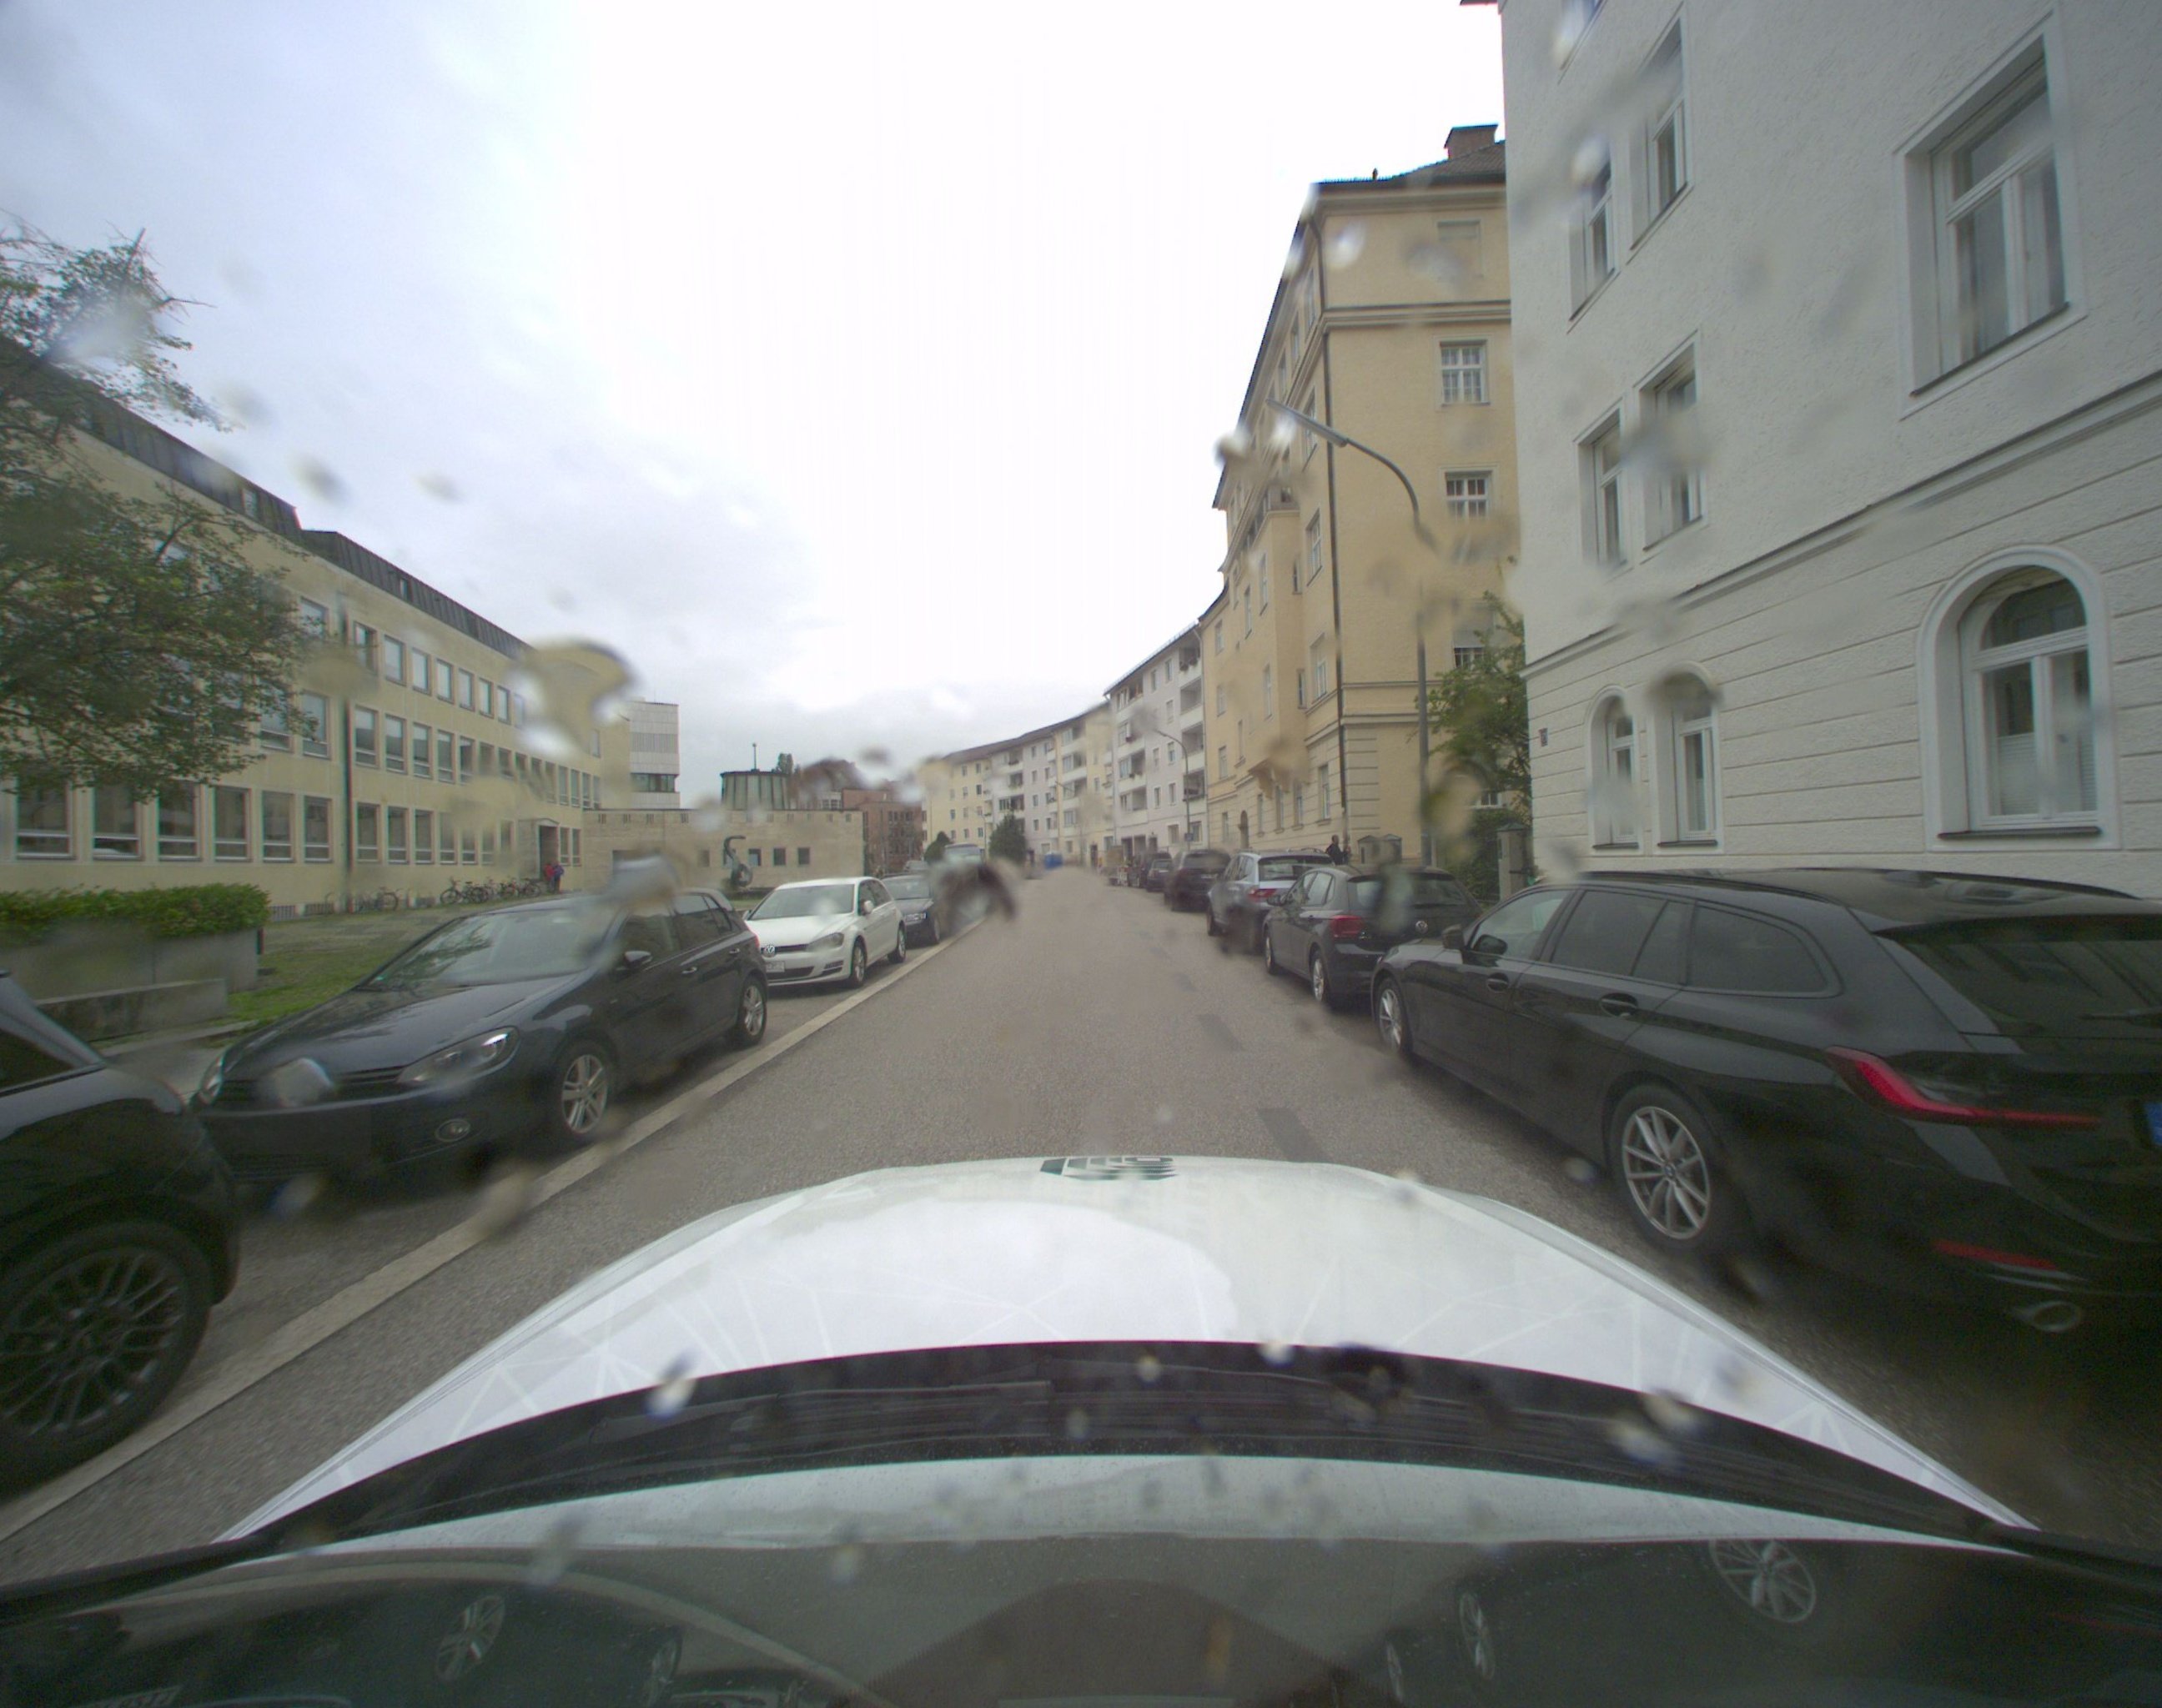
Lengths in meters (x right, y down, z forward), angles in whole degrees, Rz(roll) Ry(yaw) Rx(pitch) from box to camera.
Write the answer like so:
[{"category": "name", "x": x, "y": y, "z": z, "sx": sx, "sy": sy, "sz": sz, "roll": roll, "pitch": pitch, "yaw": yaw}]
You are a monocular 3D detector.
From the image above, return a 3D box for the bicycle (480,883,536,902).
[{"category": "bicycle", "x": -28.246, "y": 1.868, "z": 40.153, "sx": 2.210, "sy": 0.835, "sz": 0.492, "roll": -2, "pitch": -2, "yaw": -17}]

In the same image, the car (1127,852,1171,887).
[{"category": "car", "x": 3.379, "y": 0.755, "z": 41.078, "sx": 1.600, "sy": 1.715, "sz": 3.081, "roll": -1, "pitch": 0, "yaw": -8}]

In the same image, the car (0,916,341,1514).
[{"category": "car", "x": -3.517, "y": 0.967, "z": 1.030, "sx": 1.618, "sy": 1.412, "sz": 3.798, "roll": -4, "pitch": -1, "yaw": 0}]

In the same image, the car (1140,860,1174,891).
[{"category": "car", "x": 3.335, "y": 0.927, "z": 36.079, "sx": 1.268, "sy": 1.299, "sz": 2.797, "roll": -1, "pitch": -1, "yaw": 1}]

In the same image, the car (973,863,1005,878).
[{"category": "car", "x": -9.868, "y": 1.760, "z": 87.122, "sx": 1.709, "sy": 1.558, "sz": 3.542, "roll": -1, "pitch": 0, "yaw": -38}]

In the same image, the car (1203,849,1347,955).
[{"category": "car", "x": 3.256, "y": 0.728, "z": 14.467, "sx": 1.585, "sy": 1.582, "sz": 4.299, "roll": -1, "pitch": 0, "yaw": 1}]

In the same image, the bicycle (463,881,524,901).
[{"category": "bicycle", "x": -27.830, "y": 1.763, "z": 38.590, "sx": 2.210, "sy": 0.835, "sz": 0.702, "roll": -2, "pitch": -2, "yaw": -17}]

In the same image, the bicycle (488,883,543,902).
[{"category": "bicycle", "x": -28.640, "y": 1.936, "z": 41.288, "sx": 2.210, "sy": 0.835, "sz": 0.492, "roll": -2, "pitch": -2, "yaw": -17}]

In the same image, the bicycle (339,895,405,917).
[{"category": "bicycle", "x": -26.399, "y": 1.918, "z": 30.351, "sx": 1.741, "sy": 0.714, "sz": 0.611, "roll": -2, "pitch": -2, "yaw": -17}]

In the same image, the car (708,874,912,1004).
[{"category": "car", "x": -3.672, "y": 1.064, "z": 11.770, "sx": 1.619, "sy": 1.419, "sz": 3.979, "roll": -3, "pitch": -1, "yaw": -1}]

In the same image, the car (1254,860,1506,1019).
[{"category": "car", "x": 3.179, "y": 0.807, "z": 9.474, "sx": 1.585, "sy": 1.432, "sz": 3.826, "roll": -1, "pitch": 0, "yaw": 1}]

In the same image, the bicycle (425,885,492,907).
[{"category": "bicycle", "x": -27.477, "y": 1.854, "z": 35.982, "sx": 2.210, "sy": 0.835, "sz": 0.702, "roll": -2, "pitch": -2, "yaw": -17}]

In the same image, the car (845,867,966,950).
[{"category": "car", "x": -3.559, "y": 1.050, "z": 17.193, "sx": 1.618, "sy": 1.419, "sz": 3.980, "roll": -3, "pitch": -1, "yaw": 0}]

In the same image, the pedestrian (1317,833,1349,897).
[{"category": "pedestrian", "x": 6.793, "y": 0.305, "z": 21.991, "sx": 0.664, "sy": 1.692, "sz": 0.690, "roll": 0, "pitch": -1, "yaw": 2}]

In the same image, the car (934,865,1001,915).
[{"category": "car", "x": -3.665, "y": 1.127, "z": 26.786, "sx": 1.618, "sy": 1.419, "sz": 3.647, "roll": -3, "pitch": -1, "yaw": 0}]

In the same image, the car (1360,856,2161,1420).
[{"category": "car", "x": 2.994, "y": 0.734, "z": 4.306, "sx": 1.585, "sy": 1.432, "sz": 4.421, "roll": -1, "pitch": 0, "yaw": 1}]

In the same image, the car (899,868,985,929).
[{"category": "car", "x": -3.695, "y": 1.145, "z": 22.271, "sx": 1.618, "sy": 1.419, "sz": 3.980, "roll": -3, "pitch": -1, "yaw": 0}]

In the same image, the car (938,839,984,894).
[{"category": "car", "x": -6.264, "y": 0.634, "z": 42.161, "sx": 1.774, "sy": 2.654, "sz": 3.977, "roll": -1, "pitch": 0, "yaw": -16}]

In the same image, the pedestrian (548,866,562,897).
[{"category": "pedestrian", "x": -29.685, "y": 1.542, "z": 45.981, "sx": 0.602, "sy": 1.736, "sz": 0.657, "roll": 1, "pitch": -1, "yaw": -29}]

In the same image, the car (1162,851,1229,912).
[{"category": "car", "x": 3.303, "y": 0.757, "z": 24.144, "sx": 1.469, "sy": 1.641, "sz": 4.001, "roll": -1, "pitch": 0, "yaw": 1}]

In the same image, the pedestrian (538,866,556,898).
[{"category": "pedestrian", "x": -29.507, "y": 1.527, "z": 45.003, "sx": 0.673, "sy": 1.736, "sz": 0.638, "roll": 1, "pitch": -1, "yaw": -23}]

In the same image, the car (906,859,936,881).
[{"category": "car", "x": -12.741, "y": 1.260, "z": 64.649, "sx": 1.607, "sy": 1.648, "sz": 3.113, "roll": 1, "pitch": -1, "yaw": -26}]

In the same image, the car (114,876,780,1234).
[{"category": "car", "x": -3.688, "y": 0.981, "z": 5.796, "sx": 1.619, "sy": 1.508, "sz": 3.979, "roll": -3, "pitch": -1, "yaw": -1}]
